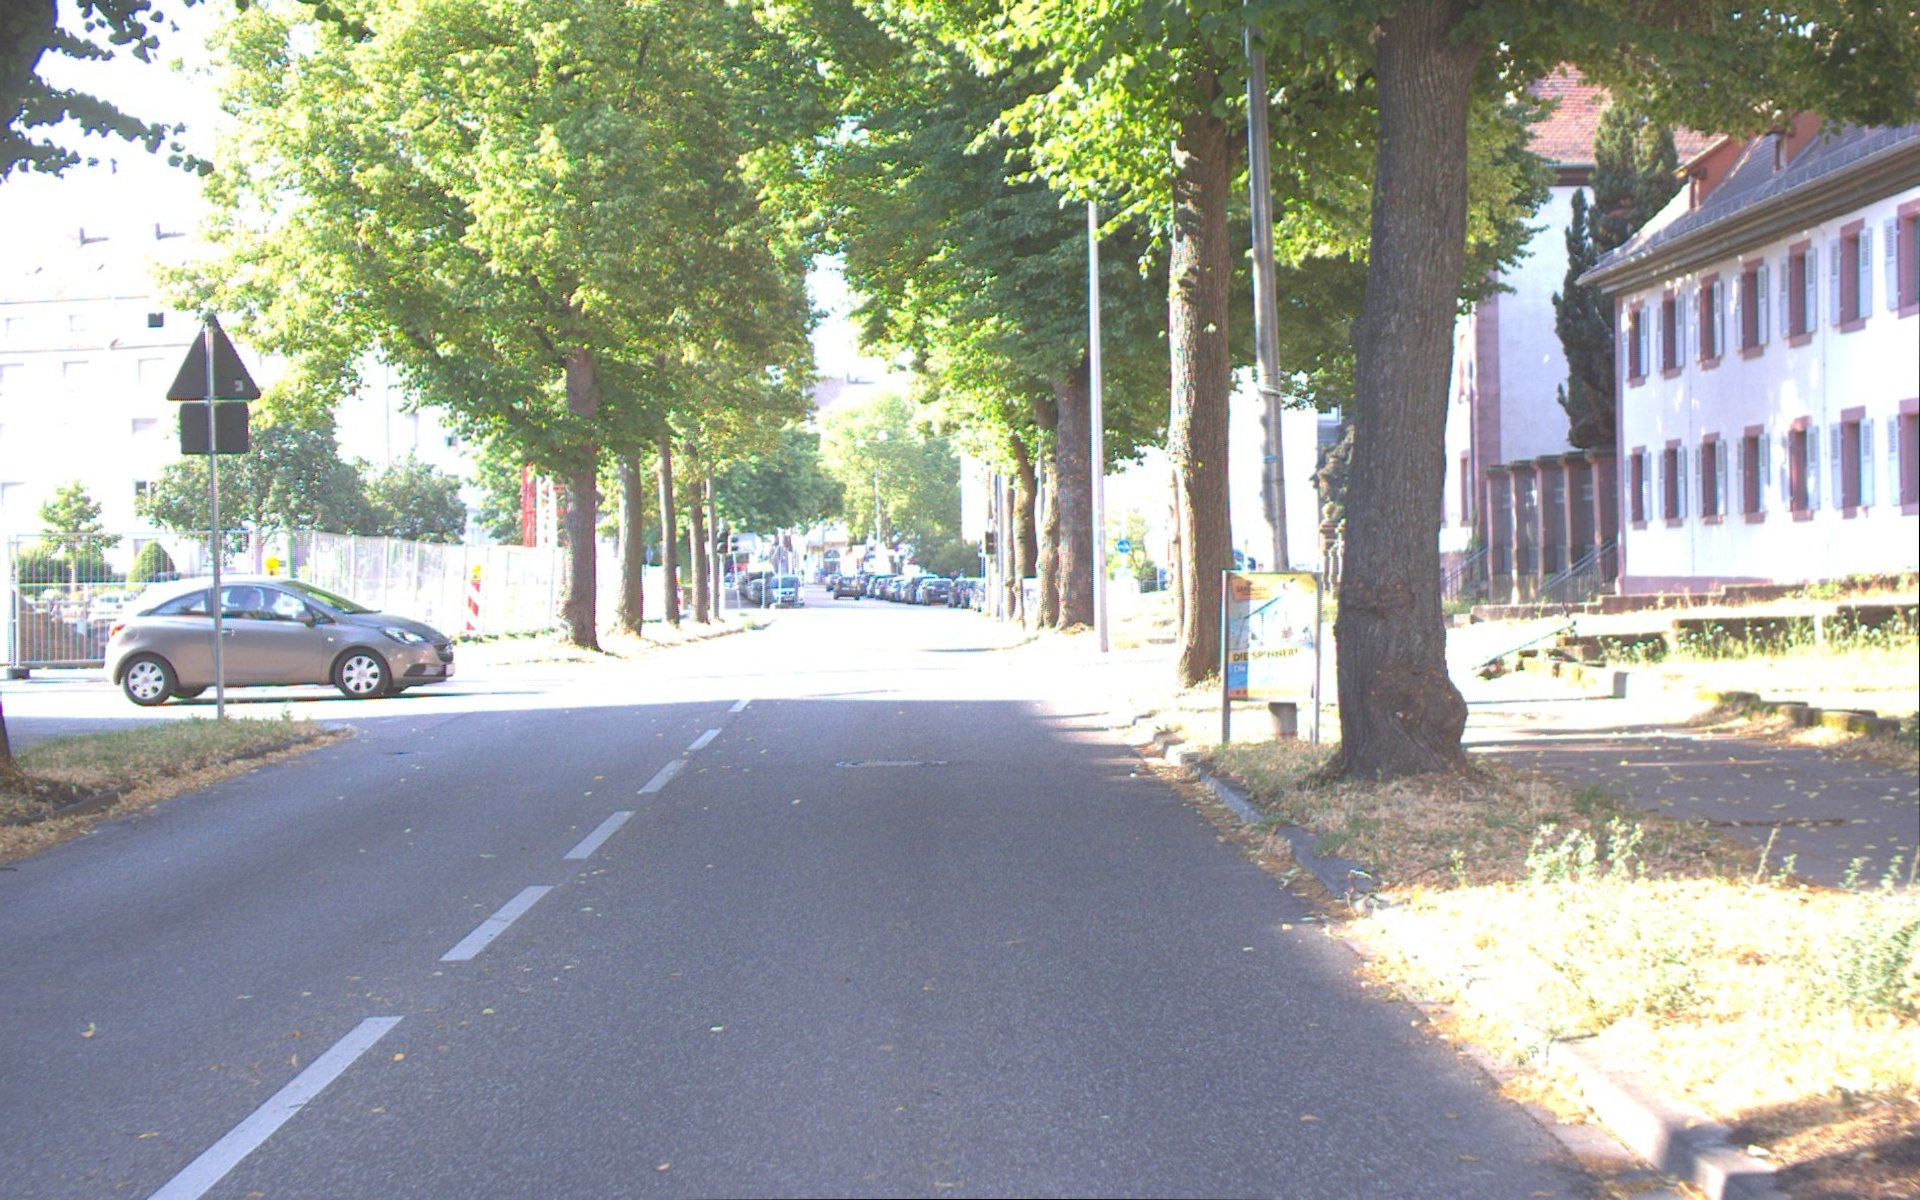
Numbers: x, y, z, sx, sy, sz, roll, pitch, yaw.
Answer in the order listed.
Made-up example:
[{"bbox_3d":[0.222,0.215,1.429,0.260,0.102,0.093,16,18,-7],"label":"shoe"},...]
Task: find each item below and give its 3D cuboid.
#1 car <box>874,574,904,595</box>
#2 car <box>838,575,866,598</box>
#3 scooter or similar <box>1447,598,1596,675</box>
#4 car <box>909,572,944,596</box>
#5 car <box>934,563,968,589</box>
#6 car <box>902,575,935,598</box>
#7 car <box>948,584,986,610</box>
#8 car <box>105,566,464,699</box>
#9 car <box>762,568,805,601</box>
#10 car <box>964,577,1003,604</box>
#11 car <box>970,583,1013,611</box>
[{"bbox_3d":[-4.938,-1.042,237.351,1.841,1.381,4.000,-2,0,-4],"label":"car"},{"bbox_3d":[-7.547,-0.919,239.574,1.714,1.481,4.000,-2,0,-4],"label":"car"},{"bbox_3d":[5.574,0.356,34.220,1.225,0.547,1.064,-9,1,-1],"label":"scooter or similar"},{"bbox_3d":[-2.002,-0.949,204.866,1.841,1.381,4.000,-2,0,-4],"label":"car"},{"bbox_3d":[-0.512,-1.370,193.638,1.841,1.381,4.000,-1,1,-1],"label":"car"},{"bbox_3d":[-2.638,-0.882,216.963,1.841,1.381,4.001,-1,1,-4],"label":"car"},{"bbox_3d":[0.331,-0.140,175.687,1.841,1.257,4.000,-2,0,-1],"label":"car"},{"bbox_3d":[-7.887,0.366,40.327,3.844,1.468,1.651,-1,1,2],"label":"car"},{"bbox_3d":[-9.280,-0.809,180.887,1.993,1.682,4.001,-1,0,-6],"label":"car"},{"bbox_3d":[1.161,-0.493,168.973,1.841,1.256,4.000,-1,1,0],"label":"car"},{"bbox_3d":[1.445,-0.141,158.379,1.841,1.257,4.000,-2,0,-1],"label":"car"}]
